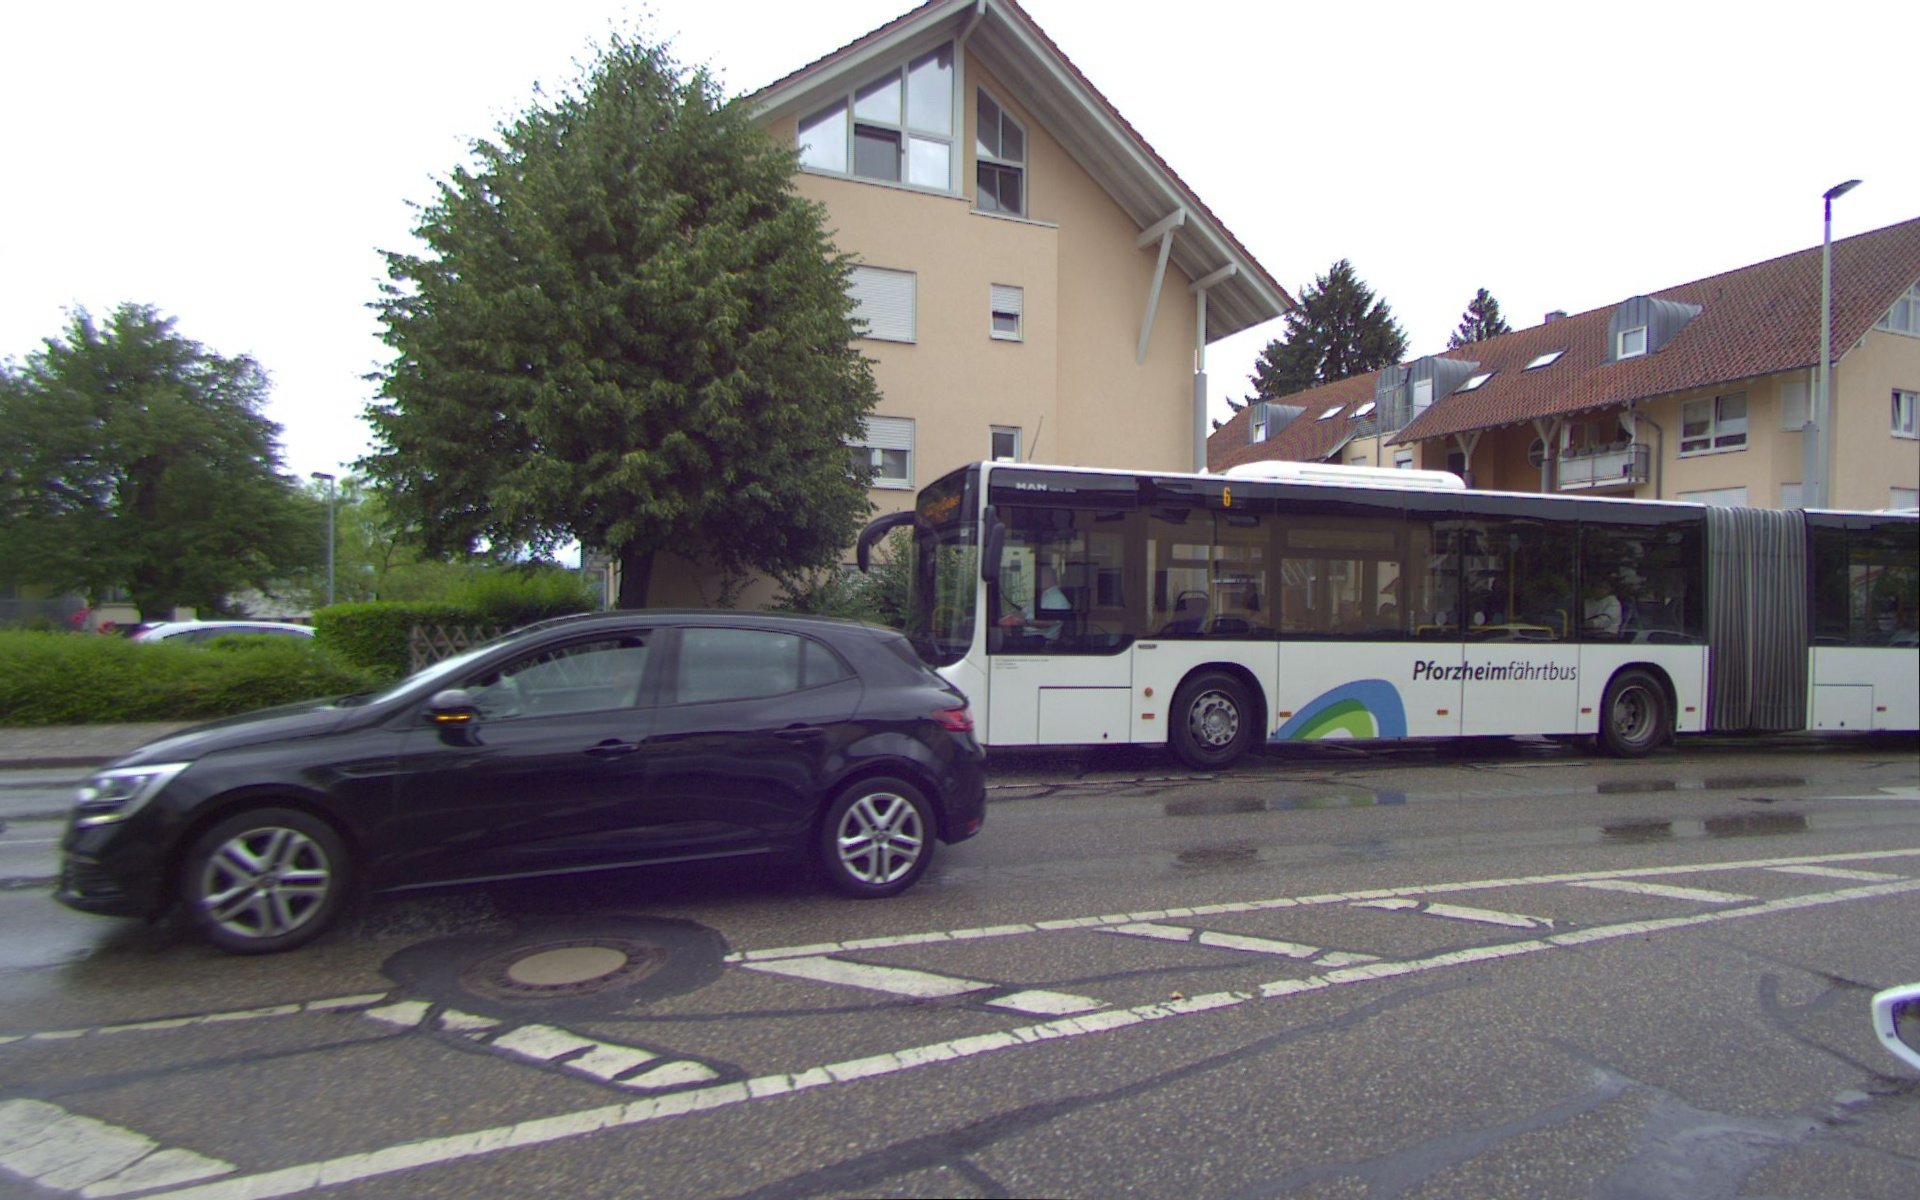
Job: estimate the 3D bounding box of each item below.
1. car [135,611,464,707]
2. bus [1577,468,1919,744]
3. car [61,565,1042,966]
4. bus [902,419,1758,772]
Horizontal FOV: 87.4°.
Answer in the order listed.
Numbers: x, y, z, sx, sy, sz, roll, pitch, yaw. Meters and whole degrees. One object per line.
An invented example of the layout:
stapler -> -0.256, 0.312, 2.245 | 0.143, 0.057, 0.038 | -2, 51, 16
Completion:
car -> -10.679, 0.956, 16.602 | 4.133, 1.458, 1.817 | 1, -2, -16
bus -> 12.643, 0.144, 13.065 | 8.254, 3.040, 2.590 | 1, -1, -10
car -> -1.831, 0.679, 5.490 | 4.111, 1.539, 1.948 | 1, 0, -20
bus -> 4.047, 0.045, 11.062 | 9.050, 3.040, 2.547 | 1, -1, -15
